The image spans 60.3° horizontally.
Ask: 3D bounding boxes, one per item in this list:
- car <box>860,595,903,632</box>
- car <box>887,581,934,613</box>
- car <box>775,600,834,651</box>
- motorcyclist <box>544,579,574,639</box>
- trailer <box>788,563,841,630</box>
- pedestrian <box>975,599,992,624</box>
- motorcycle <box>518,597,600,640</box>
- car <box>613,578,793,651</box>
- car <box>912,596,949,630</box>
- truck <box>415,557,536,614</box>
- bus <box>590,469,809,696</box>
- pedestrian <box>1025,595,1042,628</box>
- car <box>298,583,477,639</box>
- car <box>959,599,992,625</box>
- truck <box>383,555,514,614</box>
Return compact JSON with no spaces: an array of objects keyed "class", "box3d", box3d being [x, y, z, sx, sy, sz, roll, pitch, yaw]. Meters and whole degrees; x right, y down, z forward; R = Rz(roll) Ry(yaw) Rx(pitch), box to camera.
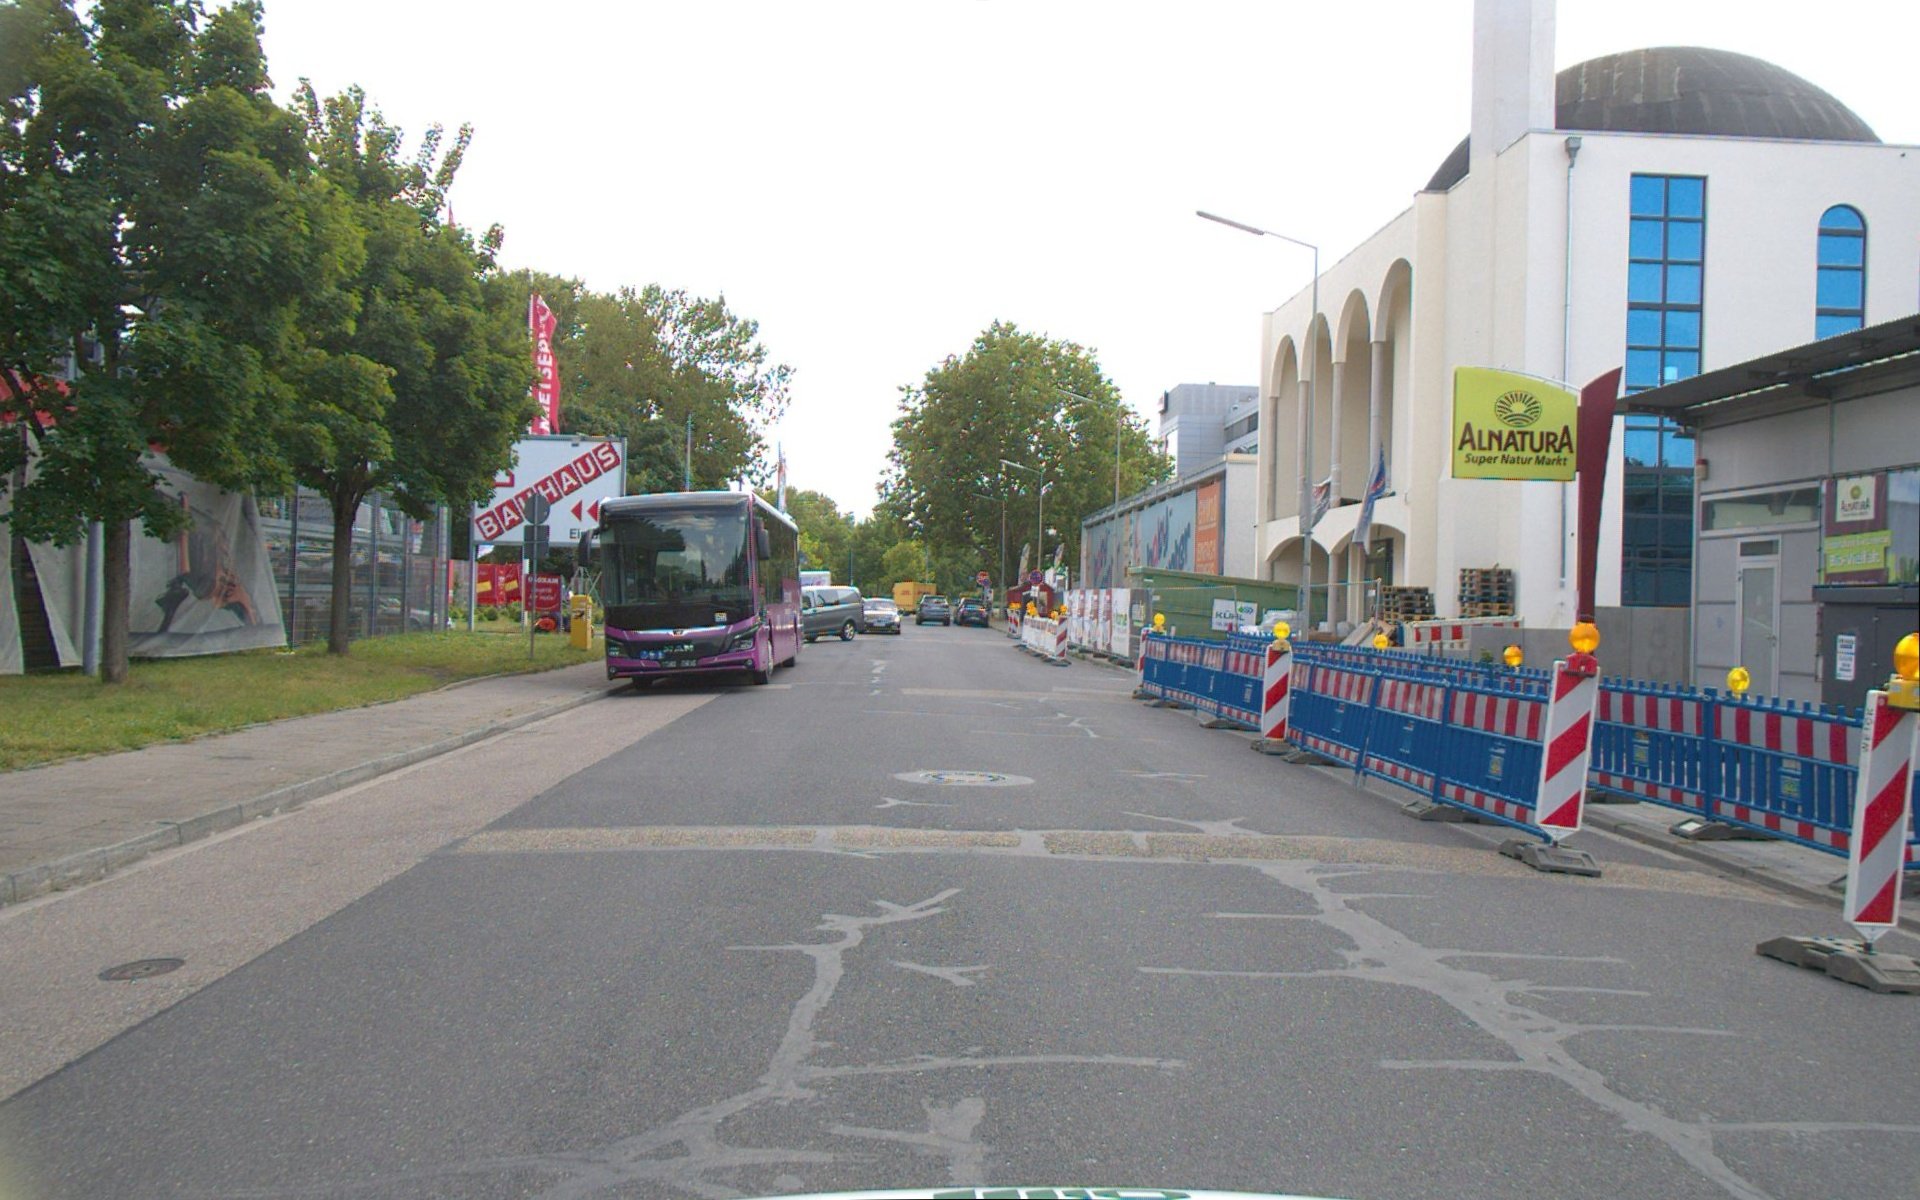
[{"class":"car","box3d":[-3.314,0.552,70.298,1.760,1.484,4.383,0,0,-2]},{"class":"car","box3d":[-4.276,-0.246,141.426,2.166,2.623,6.368,1,0,-19]},{"class":"car","box3d":[-5.354,0.849,57.279,1.831,1.658,4.125,1,0,-3]},{"class":"motorcyclist","box3d":[-11.887,0.274,49.063,0.660,1.753,0.994,1,0,-2]},{"class":"trailer","box3d":[-6.344,-0.151,72.530,2.097,2.832,4.701,-1,0,-3]},{"class":"pedestrian","box3d":[1.822,0.903,128.642,0.986,1.881,1.222,2,-1,-20]},{"class":"motorcycle","box3d":[-11.890,0.535,49.072,2.176,1.235,0.994,1,0,-2]},{"class":"car","box3d":[-7.552,0.428,48.939,4.896,1.983,1.993,1,0,3]},{"class":"car","box3d":[-1.726,0.744,95.598,1.923,1.847,4.272,1,0,-4]},{"class":"truck","box3d":[-24.237,-0.690,82.926,5.436,2.639,1.778,2,-2,-2]},{"class":"bus","box3d":[-4.715,-0.286,32.695,2.610,3.482,13.212,-2,0,-2]},{"class":"pedestrian","box3d":[3.498,0.546,78.640,0.667,1.560,1.129,2,-1,-2]},{"class":"car","box3d":[-16.850,0.316,48.847,4.589,1.479,1.954,1,0,-1]},{"class":"car","box3d":[0.894,0.699,98.555,1.771,1.415,4.587,4,0,-1]},{"class":"truck","box3d":[-24.610,-0.723,79.633,5.637,2.639,1.815,2,-2,-1]}]
